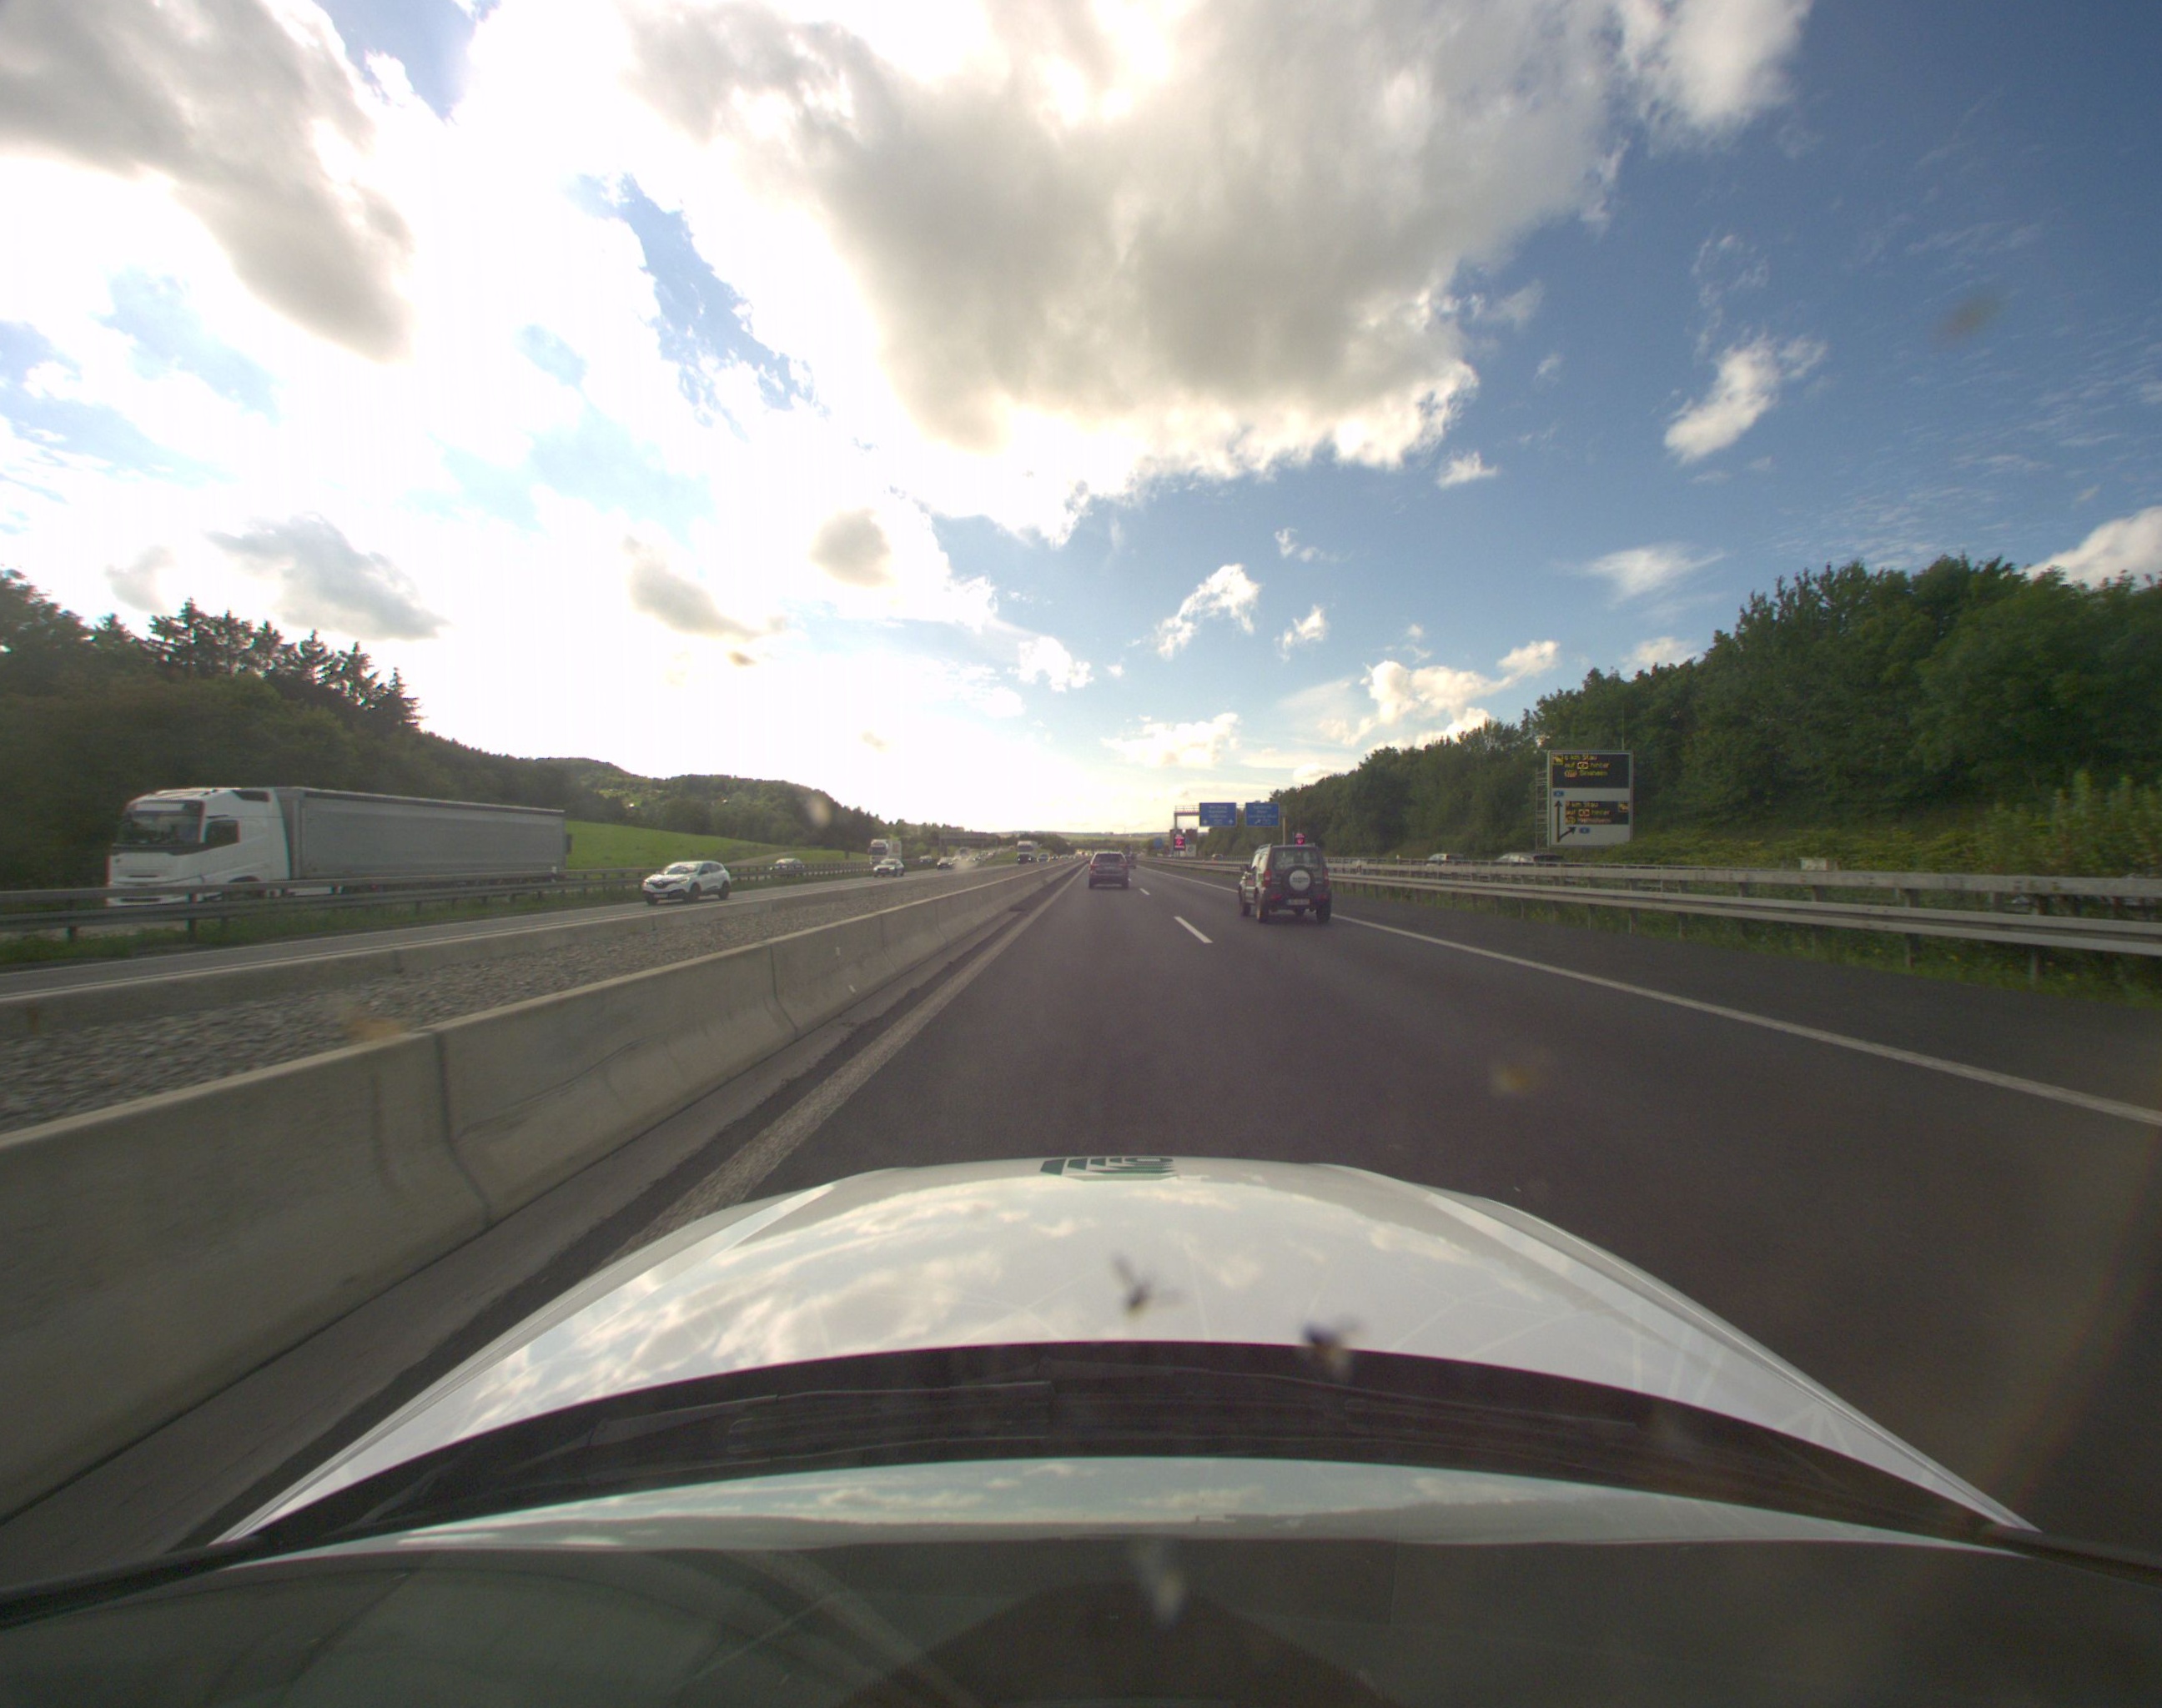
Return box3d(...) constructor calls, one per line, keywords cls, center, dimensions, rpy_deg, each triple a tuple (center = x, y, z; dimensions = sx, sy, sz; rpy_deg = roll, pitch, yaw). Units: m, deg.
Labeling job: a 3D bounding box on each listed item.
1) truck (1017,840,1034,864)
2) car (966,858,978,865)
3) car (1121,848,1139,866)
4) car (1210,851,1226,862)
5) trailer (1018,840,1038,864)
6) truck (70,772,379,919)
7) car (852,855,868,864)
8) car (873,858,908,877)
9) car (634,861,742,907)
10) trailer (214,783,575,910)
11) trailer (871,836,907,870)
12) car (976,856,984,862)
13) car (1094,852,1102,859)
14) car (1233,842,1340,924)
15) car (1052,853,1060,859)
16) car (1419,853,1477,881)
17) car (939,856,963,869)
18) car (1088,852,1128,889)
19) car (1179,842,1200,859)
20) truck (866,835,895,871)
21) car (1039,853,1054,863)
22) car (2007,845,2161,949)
box3d(cls="truck", center=(-9.613, -0.353, 142.112), dimensions=(2.479, 4.129, 5.300), rpy_deg=(-1, 0, 1))
box3d(cls="car", center=(-23.729, 1.548, 177.452), dimensions=(1.935, 1.494, 4.129), rpy_deg=(-1, 0, 1))
box3d(cls="car", center=(5.913, 0.386, 98.617), dimensions=(1.986, 2.081, 4.001), rpy_deg=(-1, 0, 1))
box3d(cls="car", center=(21.941, 0.371, 130.342), dimensions=(1.986, 1.717, 4.001), rpy_deg=(-1, 0, 1))
box3d(cls="trailer", center=(-9.490, -0.313, 147.560), dimensions=(2.479, 4.129, 13.285), rpy_deg=(-1, 0, 1))
box3d(cls="truck", center=(-26.800, -0.222, 26.048), dimensions=(3.140, 4.066, 6.288), rpy_deg=(-1, 0, 1))
box3d(cls="car", center=(-42.097, 0.987, 155.302), dimensions=(1.795, 1.618, 4.302), rpy_deg=(-1, 0, 1))
box3d(cls="car", center=(-15.928, 1.077, 68.439), dimensions=(1.639, 1.494, 4.998), rpy_deg=(-1, 0, 1))
box3d(cls="car", center=(-15.412, 1.128, 32.288), dimensions=(1.791, 1.630, 4.756), rpy_deg=(-1, 0, 2))
box3d(cls="trailer", center=(-26.610, -0.202, 33.305), dimensions=(3.140, 4.093, 13.389), rpy_deg=(-1, 0, 1))
box3d(cls="trailer", center=(-30.402, -0.087, 129.449), dimensions=(3.102, 5.160, 14.699), rpy_deg=(-1, 0, -4))
box3d(cls="car", center=(-29.428, 1.523, 237.331), dimensions=(1.795, 1.618, 4.302), rpy_deg=(-1, 0, 1))
box3d(cls="car", center=(4.778, 0.517, 225.497), dimensions=(2.160, 1.843, 4.002), rpy_deg=(-1, 0, 2))
box3d(cls="car", center=(4.746, 0.627, 19.346), dimensions=(1.660, 1.732, 4.209), rpy_deg=(0, 0, 2))
box3d(cls="car", center=(-7.123, 0.647, 232.407), dimensions=(1.795, 1.618, 4.302), rpy_deg=(-1, 0, 1))
box3d(cls="car", center=(23.633, 0.797, 52.565), dimensions=(1.986, 1.708, 4.001), rpy_deg=(-1, 0, 1))
box3d(cls="car", center=(-15.932, 0.997, 100.002), dimensions=(1.935, 1.494, 5.307), rpy_deg=(-1, 0, 1))
box3d(cls="car", center=(1.290, 0.740, 38.373), dimensions=(1.743, 1.630, 3.611), rpy_deg=(-1, 0, 2))
box3d(cls="car", center=(23.507, -0.719, 177.059), dimensions=(3.564, 3.677, 7.550), rpy_deg=(-1, 0, 1))
box3d(cls="truck", center=(-29.857, -0.095, 121.793), dimensions=(3.019, 5.142, 6.620), rpy_deg=(-1, 0, -4))
box3d(cls="car", center=(-5.197, 0.590, 122.383), dimensions=(1.841, 1.494, 4.973), rpy_deg=(-1, 0, 1))
box3d(cls="car", center=(16.407, 0.614, 11.414), dimensions=(1.987, 1.484, 4.310), rpy_deg=(0, 0, 0))
